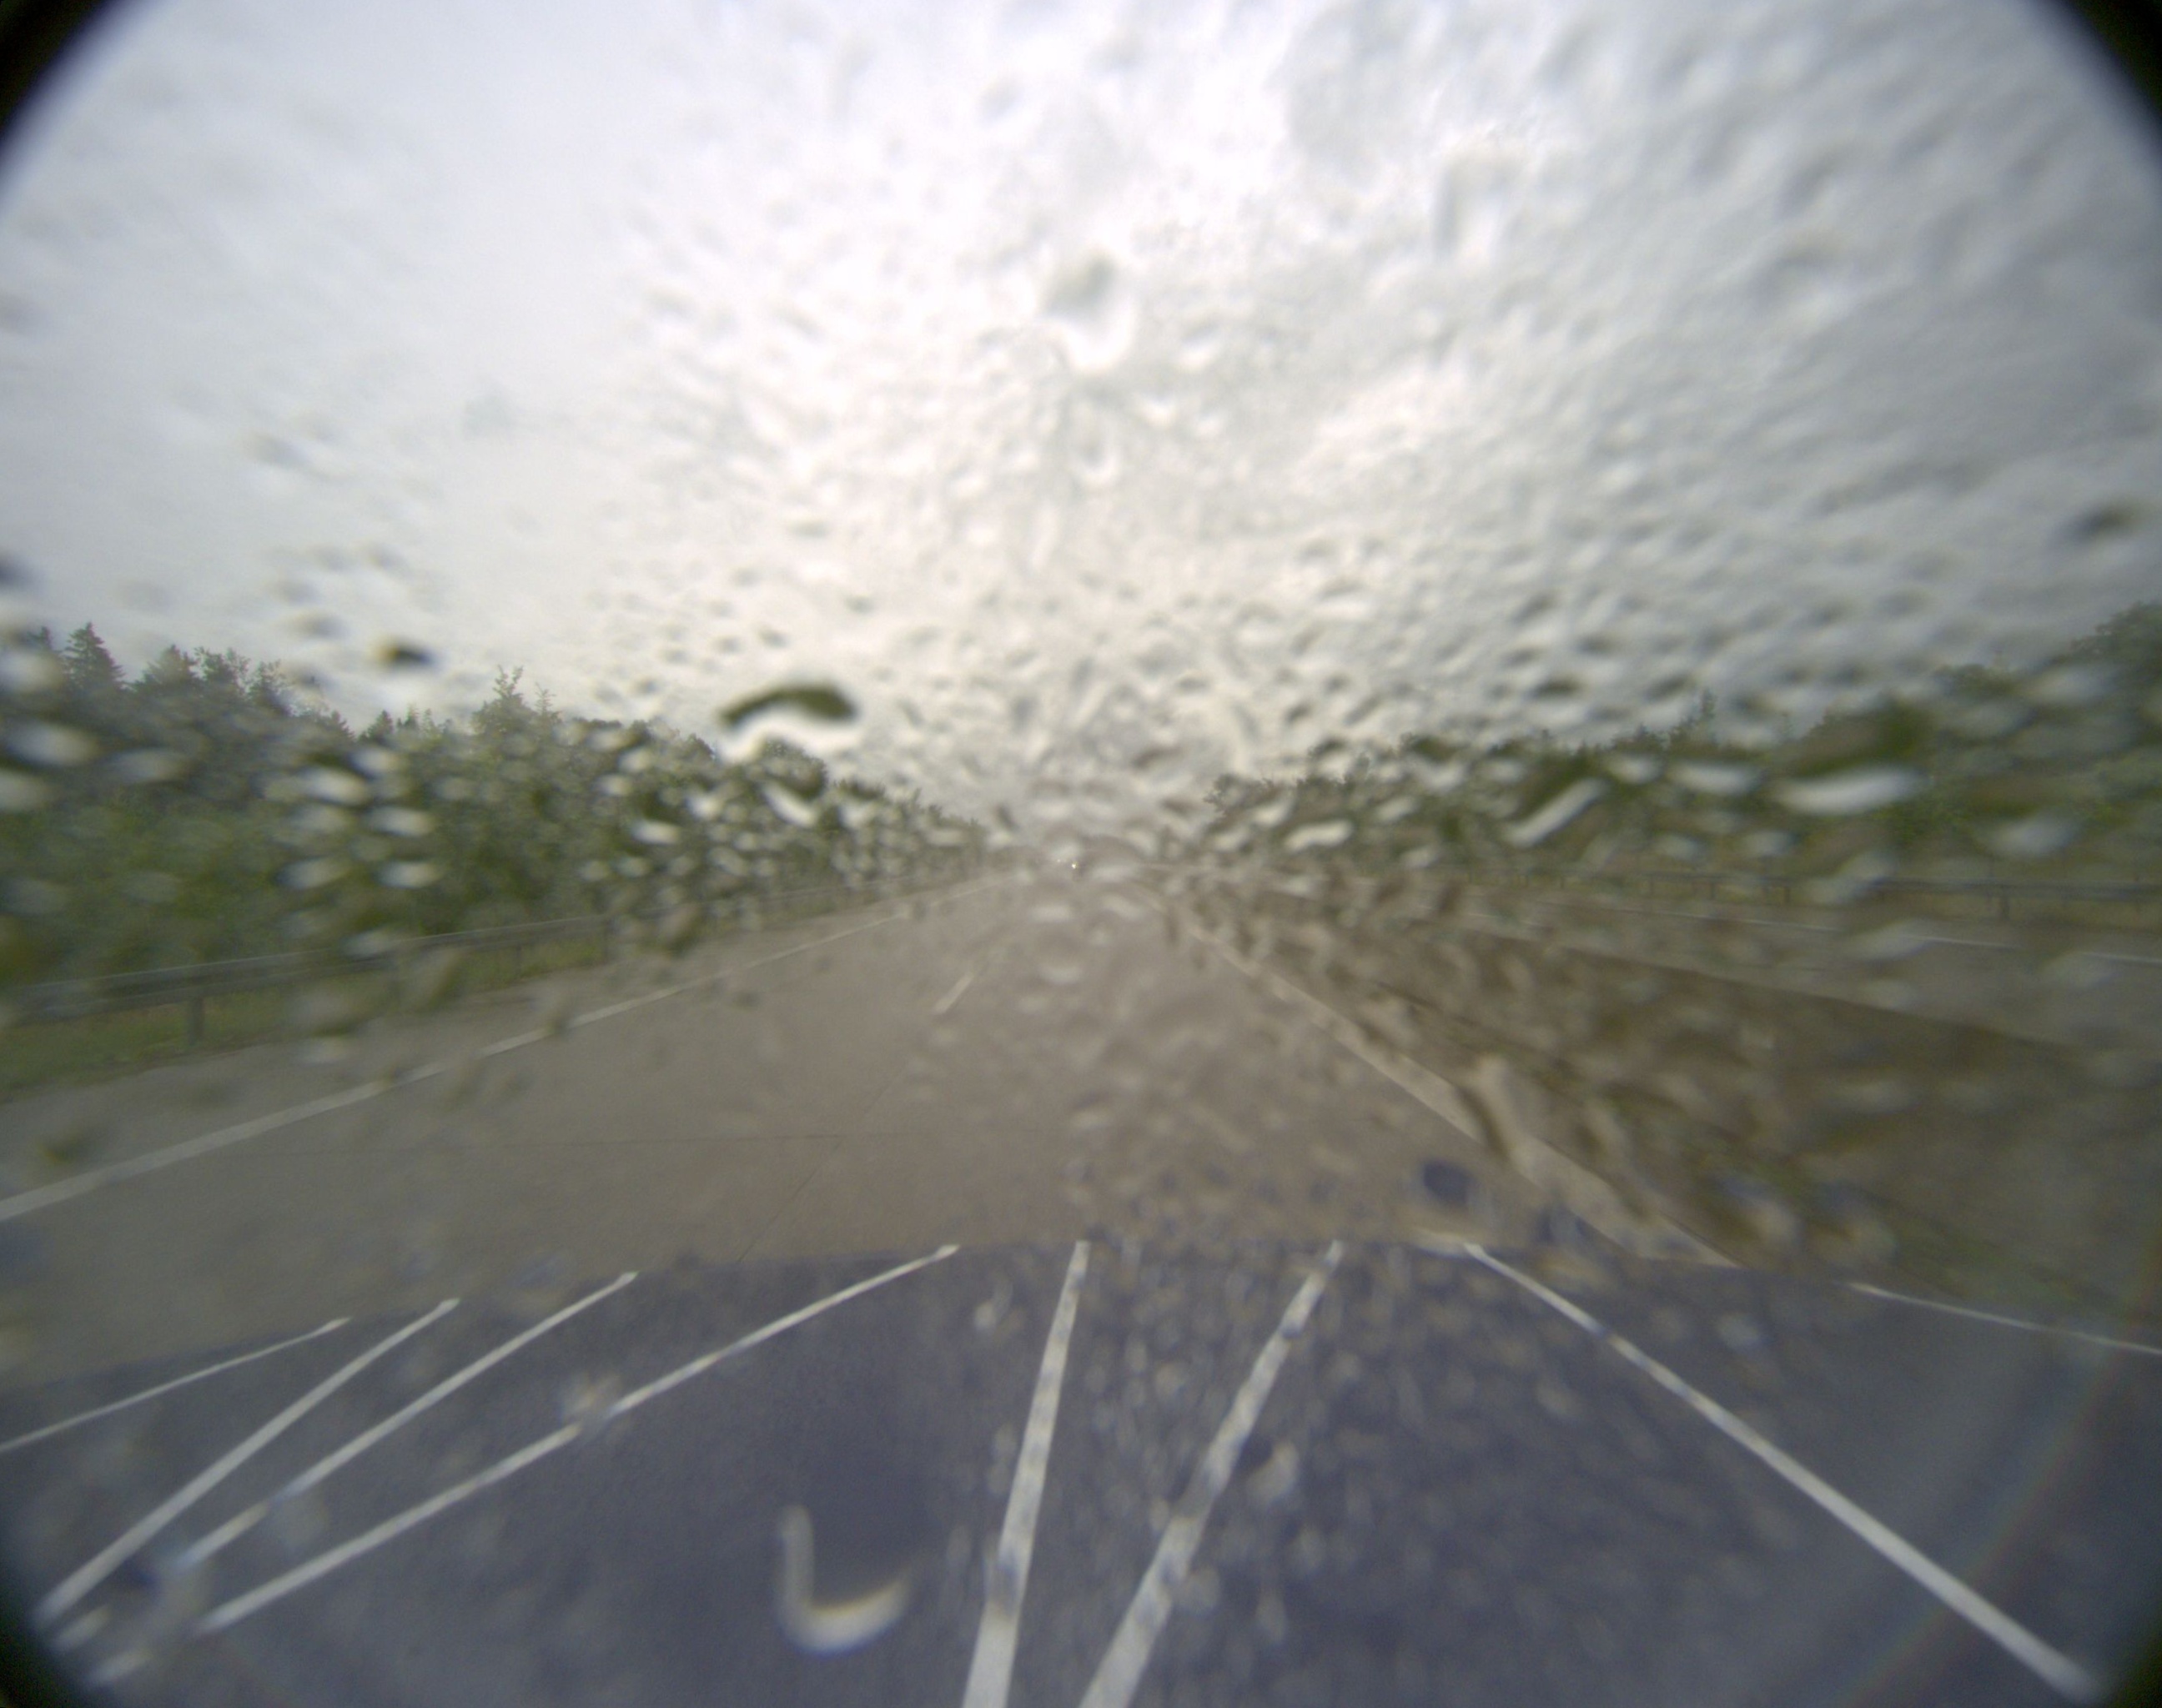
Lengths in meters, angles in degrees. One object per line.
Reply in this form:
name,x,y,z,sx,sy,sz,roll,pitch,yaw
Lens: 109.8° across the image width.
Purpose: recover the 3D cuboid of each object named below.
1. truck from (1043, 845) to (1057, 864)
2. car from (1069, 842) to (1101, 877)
truck,-7.129,0.148,173.901,2.767,4.062,5.435,1,-2,-6
car,0.321,0.394,48.688,1.795,2.113,4.527,0,-2,3
